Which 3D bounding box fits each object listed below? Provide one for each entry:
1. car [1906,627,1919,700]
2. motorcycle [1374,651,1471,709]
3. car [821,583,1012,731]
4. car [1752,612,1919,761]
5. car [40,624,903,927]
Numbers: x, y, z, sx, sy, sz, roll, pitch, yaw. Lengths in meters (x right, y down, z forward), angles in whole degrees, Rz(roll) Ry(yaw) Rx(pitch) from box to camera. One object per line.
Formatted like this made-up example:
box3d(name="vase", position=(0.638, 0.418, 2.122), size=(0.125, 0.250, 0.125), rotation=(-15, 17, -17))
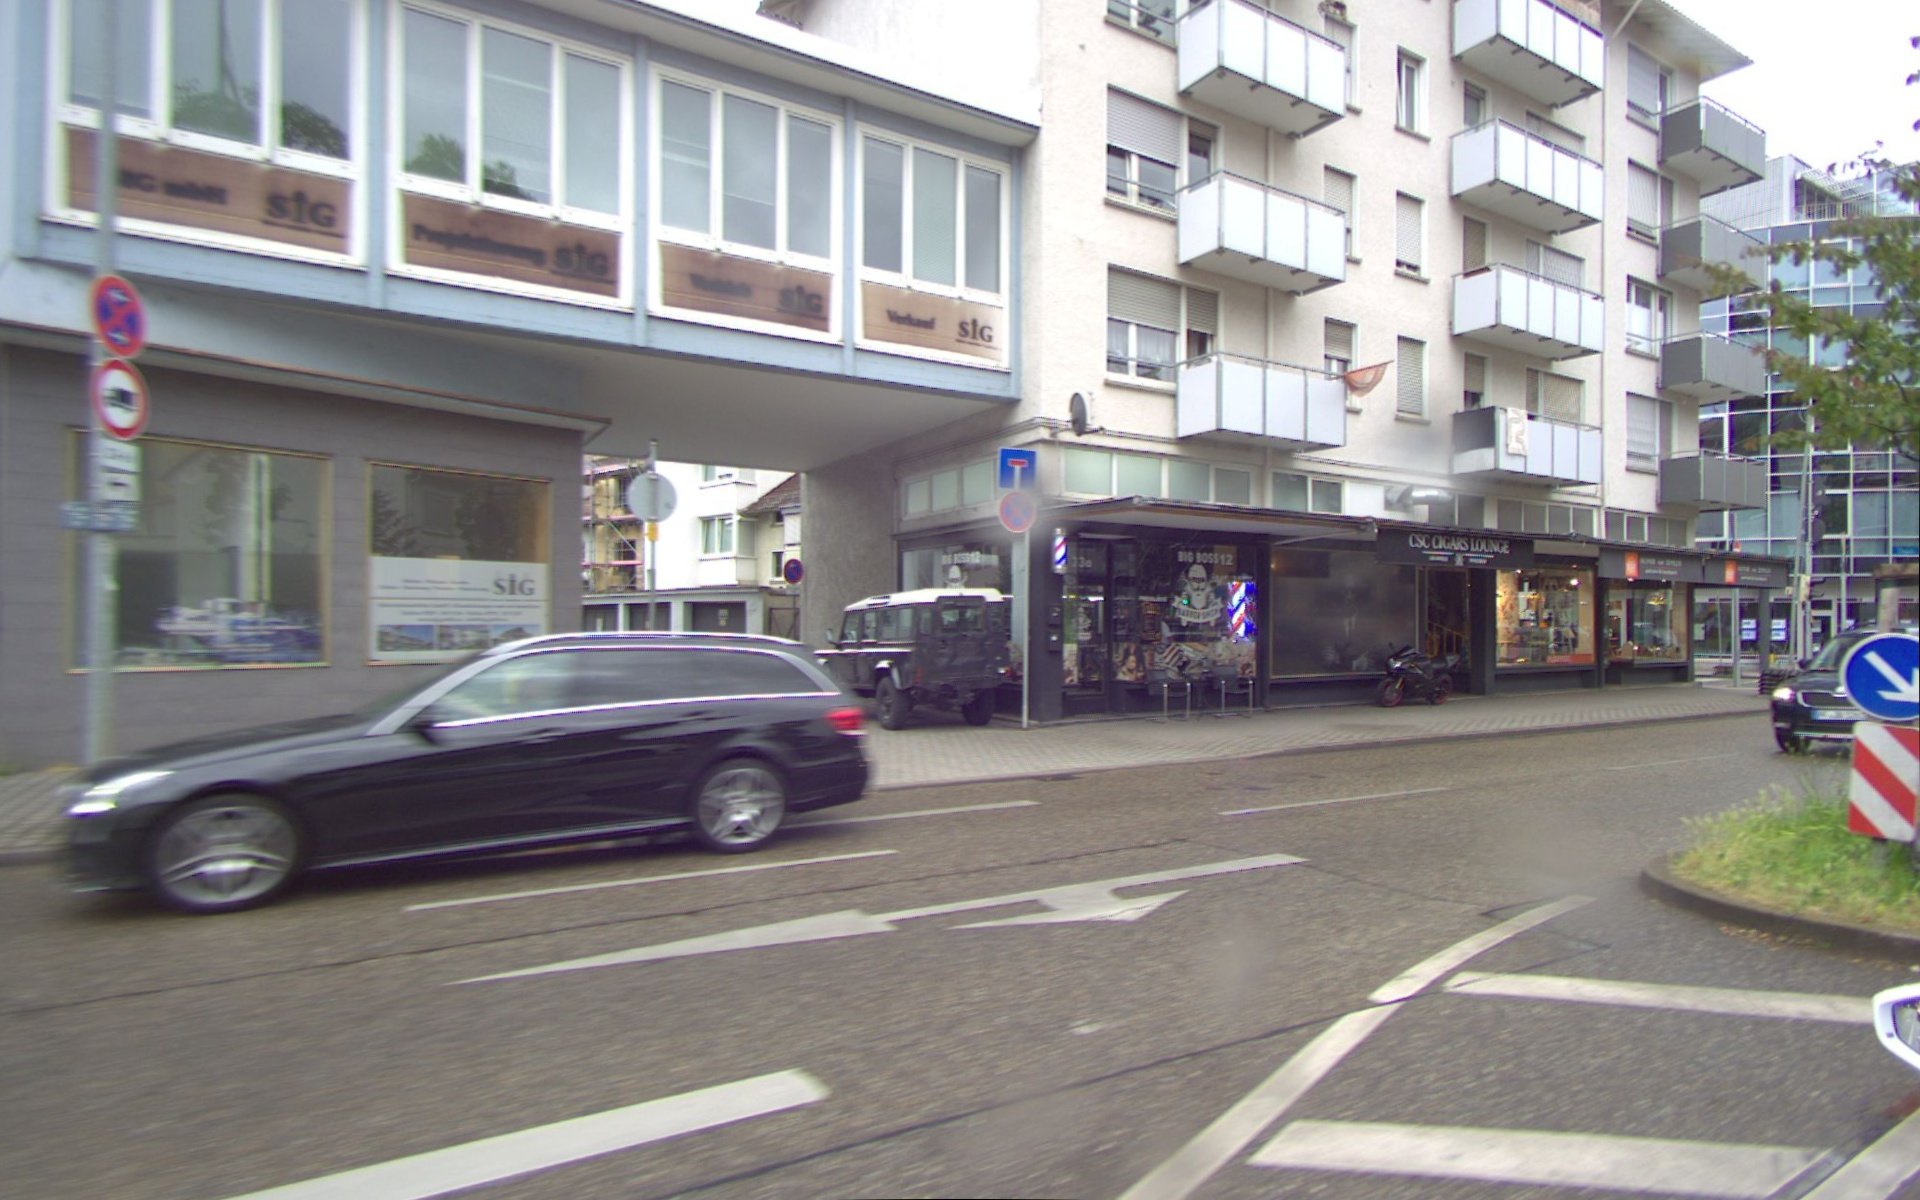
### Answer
box3d(name="car", position=(23.376, 1.422, 22.895), size=(3.892, 1.612, 1.624), rotation=(1, -4, -31))
box3d(name="motorcycle", position=(8.788, 1.498, 19.039), size=(2.111, 1.008, 0.523), rotation=(1, 1, -30))
box3d(name="car", position=(-0.829, 0.843, 16.040), size=(1.560, 2.061, 3.949), rotation=(1, -2, -27))
box3d(name="car", position=(12.176, 1.052, 12.978), size=(4.049, 1.682, 1.676), rotation=(1, -3, -31))
box3d(name="car", position=(-2.895, 0.962, 6.929), size=(4.773, 1.487, 1.700), rotation=(1, -4, -31))
